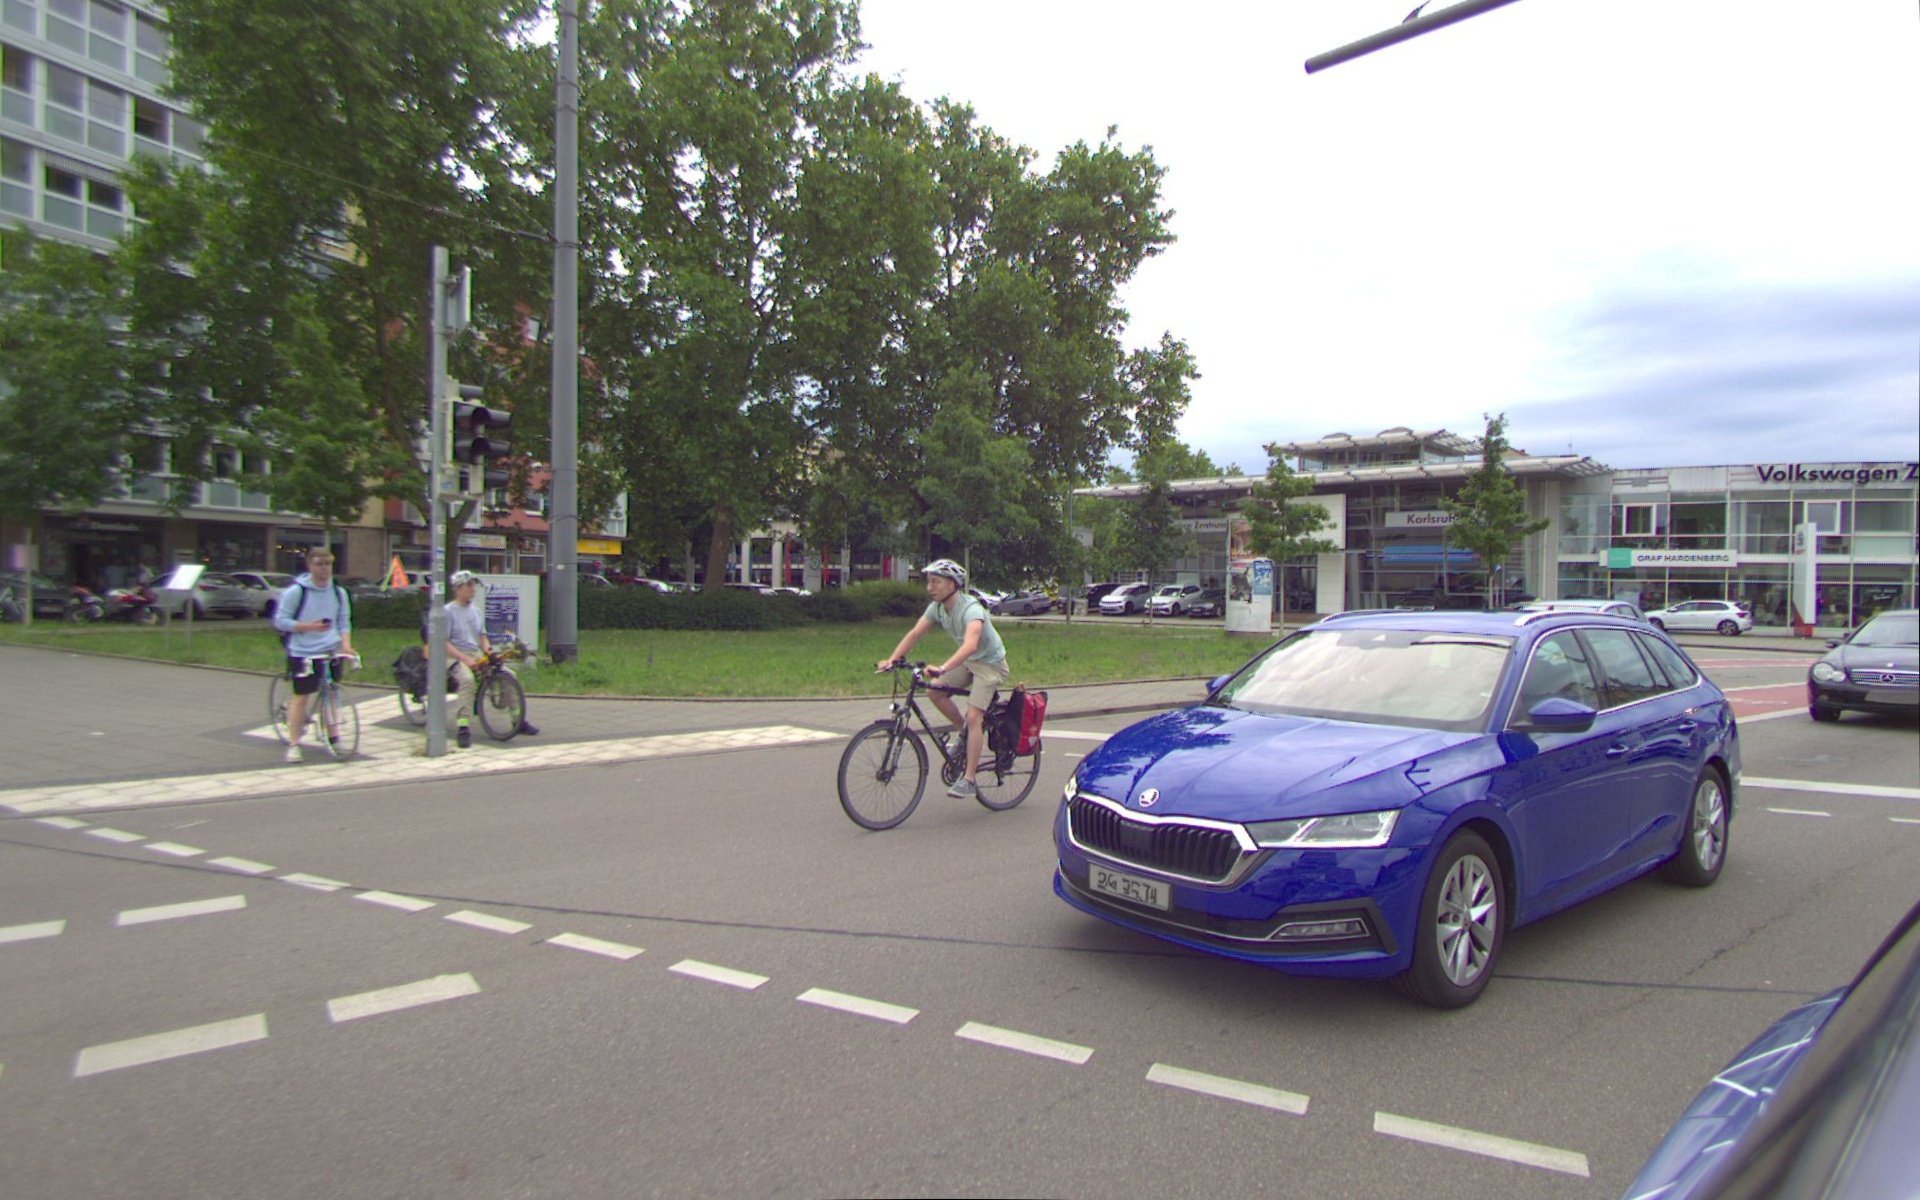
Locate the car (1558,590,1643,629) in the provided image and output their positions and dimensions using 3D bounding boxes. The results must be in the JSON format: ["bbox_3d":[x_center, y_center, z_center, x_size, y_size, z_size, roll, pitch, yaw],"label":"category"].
[{"bbox_3d":[27.711,0.371,43.927,1.763,1.580,4.021,1,1,11],"label":"car"}]

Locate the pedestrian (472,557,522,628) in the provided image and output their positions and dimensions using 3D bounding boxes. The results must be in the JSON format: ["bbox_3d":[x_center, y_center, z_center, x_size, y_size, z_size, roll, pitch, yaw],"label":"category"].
[{"bbox_3d":[-12.475,-0.209,27.273,0.860,1.842,0.888,2,1,32],"label":"pedestrian"}]

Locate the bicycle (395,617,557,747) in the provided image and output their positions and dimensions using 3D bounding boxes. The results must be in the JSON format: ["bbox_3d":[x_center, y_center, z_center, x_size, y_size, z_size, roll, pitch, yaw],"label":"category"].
[{"bbox_3d":[-4.890,0.777,10.163,1.935,1.010,0.594,6,3,36],"label":"bicycle"}]

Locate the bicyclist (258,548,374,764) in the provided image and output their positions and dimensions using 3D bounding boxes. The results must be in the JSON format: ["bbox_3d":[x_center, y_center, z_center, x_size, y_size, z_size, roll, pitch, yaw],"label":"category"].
[{"bbox_3d":[-5.594,0.450,8.789,0.728,1.773,0.580,3,2,30],"label":"bicyclist"}]

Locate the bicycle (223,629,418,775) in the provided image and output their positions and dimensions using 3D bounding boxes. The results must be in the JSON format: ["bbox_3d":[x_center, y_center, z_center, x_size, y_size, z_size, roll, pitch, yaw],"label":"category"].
[{"bbox_3d":[-5.588,0.832,8.803,1.976,1.010,0.574,3,2,30],"label":"bicycle"}]

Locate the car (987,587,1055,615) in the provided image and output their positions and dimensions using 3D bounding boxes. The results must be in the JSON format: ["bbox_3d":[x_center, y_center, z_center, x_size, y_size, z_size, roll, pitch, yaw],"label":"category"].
[{"bbox_3d":[3.801,0.043,63.508,4.137,1.530,1.630,2,5,44],"label":"car"}]

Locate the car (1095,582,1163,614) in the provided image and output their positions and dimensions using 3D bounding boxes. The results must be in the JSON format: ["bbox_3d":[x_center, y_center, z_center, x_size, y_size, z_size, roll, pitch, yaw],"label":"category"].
[{"bbox_3d":[9.948,-0.152,59.496,1.951,1.483,4.167,2,6,43],"label":"car"}]

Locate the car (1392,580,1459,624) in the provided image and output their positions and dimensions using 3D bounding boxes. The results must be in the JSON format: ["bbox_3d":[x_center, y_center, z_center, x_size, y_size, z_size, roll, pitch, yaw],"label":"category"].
[{"bbox_3d":[22.036,0.043,47.804,1.947,1.662,4.615,1,5,38],"label":"car"}]

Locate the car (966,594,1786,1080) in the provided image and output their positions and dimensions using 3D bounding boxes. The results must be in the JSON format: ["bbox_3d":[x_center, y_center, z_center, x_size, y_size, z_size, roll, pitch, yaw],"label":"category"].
[{"bbox_3d":[2.414,0.712,5.166,4.669,1.454,1.770,0,0,-37],"label":"car"}]

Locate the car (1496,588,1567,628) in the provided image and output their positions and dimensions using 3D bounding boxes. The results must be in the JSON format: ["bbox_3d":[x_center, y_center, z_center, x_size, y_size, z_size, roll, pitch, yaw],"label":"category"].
[{"bbox_3d":[25.192,0.306,44.784,1.932,1.544,4.205,1,2,19],"label":"car"}]

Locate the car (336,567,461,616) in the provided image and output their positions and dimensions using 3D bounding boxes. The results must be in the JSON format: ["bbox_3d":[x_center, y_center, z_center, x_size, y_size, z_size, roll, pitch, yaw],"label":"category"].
[{"bbox_3d":[-21.494,-0.341,38.804,3.943,1.745,1.991,1,1,15],"label":"car"}]

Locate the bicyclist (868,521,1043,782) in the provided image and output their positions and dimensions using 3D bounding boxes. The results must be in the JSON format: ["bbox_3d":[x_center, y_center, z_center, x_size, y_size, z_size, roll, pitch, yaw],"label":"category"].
[{"bbox_3d":[-0.032,0.322,6.942,0.916,1.639,0.791,0,-1,-37],"label":"bicyclist"}]

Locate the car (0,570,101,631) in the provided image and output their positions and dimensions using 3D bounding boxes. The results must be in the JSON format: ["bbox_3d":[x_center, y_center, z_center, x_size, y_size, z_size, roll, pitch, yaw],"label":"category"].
[{"bbox_3d":[-25.340,-0.028,27.171,4.120,1.460,1.828,2,1,23],"label":"car"}]

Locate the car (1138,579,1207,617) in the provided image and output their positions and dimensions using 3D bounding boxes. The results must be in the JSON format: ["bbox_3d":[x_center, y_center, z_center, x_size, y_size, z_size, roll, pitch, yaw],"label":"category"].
[{"bbox_3d":[12.131,-0.154,57.644,1.951,1.615,4.169,2,7,43],"label":"car"}]

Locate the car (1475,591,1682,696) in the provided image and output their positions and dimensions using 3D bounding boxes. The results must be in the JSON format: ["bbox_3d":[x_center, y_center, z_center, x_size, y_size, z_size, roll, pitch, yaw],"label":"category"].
[{"bbox_3d":[10.091,0.620,16.412,3.863,1.502,1.708,0,0,-39],"label":"car"}]

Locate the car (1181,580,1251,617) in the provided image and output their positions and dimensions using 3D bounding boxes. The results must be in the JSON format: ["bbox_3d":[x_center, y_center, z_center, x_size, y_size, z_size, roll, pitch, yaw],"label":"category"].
[{"bbox_3d":[14.094,-0.124,55.608,1.951,1.472,4.170,2,9,43],"label":"car"}]

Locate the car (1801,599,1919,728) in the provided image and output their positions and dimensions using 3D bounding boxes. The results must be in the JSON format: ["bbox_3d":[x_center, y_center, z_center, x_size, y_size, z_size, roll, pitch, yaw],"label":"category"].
[{"bbox_3d":[12.335,0.709,12.797,4.342,1.387,1.769,-1,0,-38],"label":"car"}]

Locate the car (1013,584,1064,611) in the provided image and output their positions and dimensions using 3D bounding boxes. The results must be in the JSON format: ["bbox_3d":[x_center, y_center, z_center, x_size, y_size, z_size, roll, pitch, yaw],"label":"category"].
[{"bbox_3d":[5.055,-0.174,65.340,3.113,1.530,1.419,2,5,44],"label":"car"}]

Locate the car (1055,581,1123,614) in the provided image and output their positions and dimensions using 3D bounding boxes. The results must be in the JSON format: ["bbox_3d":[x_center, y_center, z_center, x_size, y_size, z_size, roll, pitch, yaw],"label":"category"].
[{"bbox_3d":[7.838,-0.180,61.226,1.951,1.530,4.168,2,7,43],"label":"car"}]

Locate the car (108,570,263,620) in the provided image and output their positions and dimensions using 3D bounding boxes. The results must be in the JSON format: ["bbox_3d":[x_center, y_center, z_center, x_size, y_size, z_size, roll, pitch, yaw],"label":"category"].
[{"bbox_3d":[-24.439,-0.177,31.956,3.945,1.482,1.989,1,1,17],"label":"car"}]

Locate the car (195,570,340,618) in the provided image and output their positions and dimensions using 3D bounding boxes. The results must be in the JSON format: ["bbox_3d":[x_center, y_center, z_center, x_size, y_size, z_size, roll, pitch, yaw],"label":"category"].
[{"bbox_3d":[-23.585,-0.228,34.508,3.943,1.460,1.991,2,1,15],"label":"car"}]

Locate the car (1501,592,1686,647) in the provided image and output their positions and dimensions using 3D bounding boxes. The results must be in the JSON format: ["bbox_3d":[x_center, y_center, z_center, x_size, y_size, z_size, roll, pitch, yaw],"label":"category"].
[{"bbox_3d":[20.702,0.576,33.239,4.867,1.562,1.861,3,2,44],"label":"car"}]

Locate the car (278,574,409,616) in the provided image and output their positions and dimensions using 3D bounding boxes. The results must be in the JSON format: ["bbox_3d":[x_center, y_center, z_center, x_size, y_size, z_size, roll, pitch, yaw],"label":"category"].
[{"bbox_3d":[-22.176,-0.215,36.430,3.943,1.352,1.829,2,1,15],"label":"car"}]

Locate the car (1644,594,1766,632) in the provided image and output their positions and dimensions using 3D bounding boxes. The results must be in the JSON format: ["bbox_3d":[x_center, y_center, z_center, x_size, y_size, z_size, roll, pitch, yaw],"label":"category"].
[{"bbox_3d":[31.334,0.516,42.635,1.704,1.459,3.898,0,1,-44],"label":"car"}]

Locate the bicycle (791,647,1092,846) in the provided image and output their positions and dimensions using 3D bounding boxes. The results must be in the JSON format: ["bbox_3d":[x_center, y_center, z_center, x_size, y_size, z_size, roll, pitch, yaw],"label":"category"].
[{"bbox_3d":[-0.085,0.910,6.893,1.979,1.092,0.763,0,-1,-36],"label":"bicycle"}]

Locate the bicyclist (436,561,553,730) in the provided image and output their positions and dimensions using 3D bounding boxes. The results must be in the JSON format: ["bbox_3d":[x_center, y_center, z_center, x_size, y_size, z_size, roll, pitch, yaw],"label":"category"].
[{"bbox_3d":[-4.594,0.414,9.983,0.881,1.540,0.663,5,3,36],"label":"bicyclist"}]
